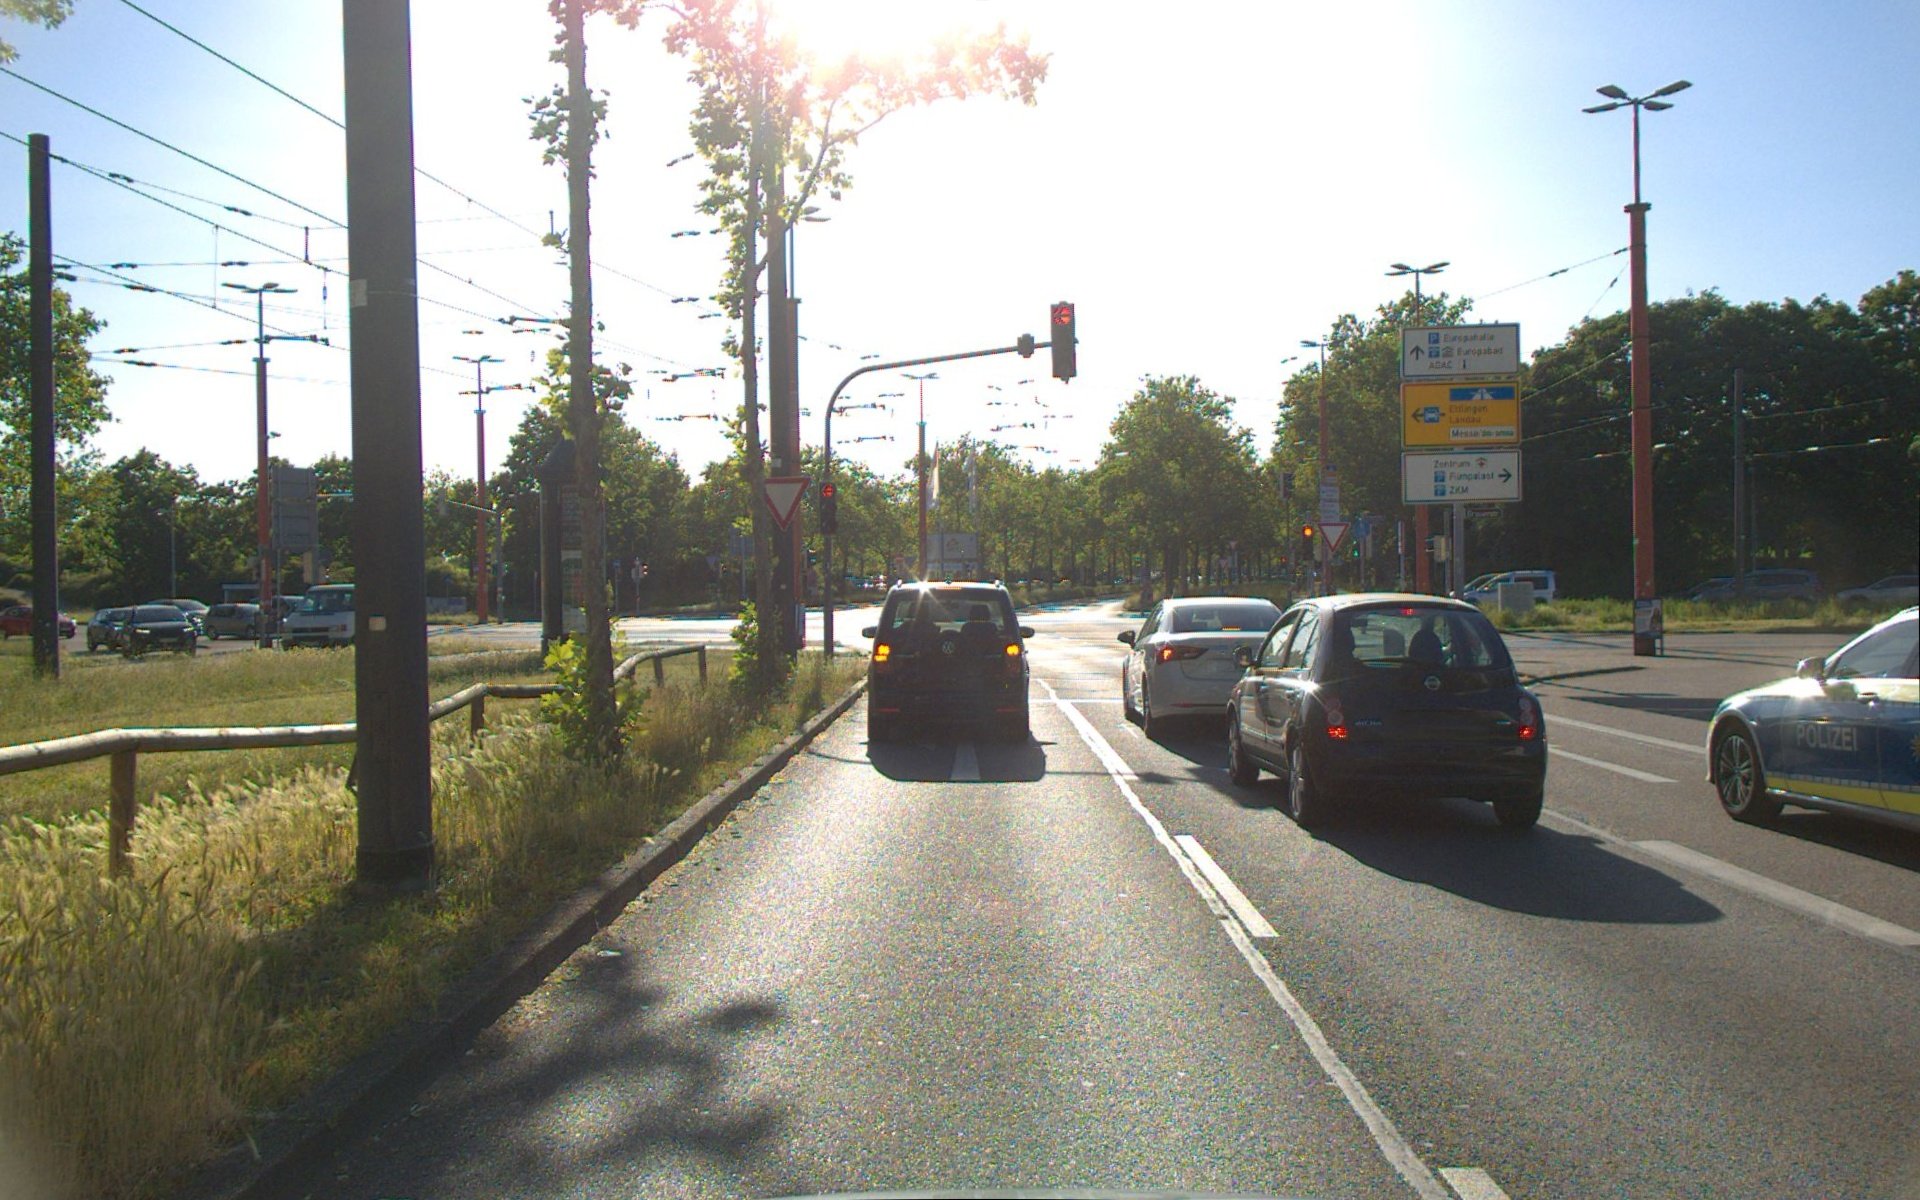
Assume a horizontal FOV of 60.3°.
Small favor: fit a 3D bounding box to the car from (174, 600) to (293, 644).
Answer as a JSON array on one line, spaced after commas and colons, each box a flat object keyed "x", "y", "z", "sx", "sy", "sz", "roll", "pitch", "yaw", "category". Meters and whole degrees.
[{"x": -30.505, "y": 0.906, "z": 69.460, "sx": 4.391, "sy": 1.638, "sz": 1.901, "roll": -2, "pitch": 2, "yaw": 19, "category": "car"}]

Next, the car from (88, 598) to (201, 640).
[{"x": -36.148, "y": 0.842, "z": 73.343, "sx": 4.391, "sy": 1.638, "sz": 1.901, "roll": -2, "pitch": 2, "yaw": 19, "category": "car"}]

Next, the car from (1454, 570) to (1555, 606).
[{"x": 23.348, "y": -0.492, "z": 70.907, "sx": 3.908, "sy": 1.502, "sz": 1.788, "roll": 0, "pitch": 0, "yaw": 26, "category": "car"}]

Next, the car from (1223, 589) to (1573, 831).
[{"x": 3.039, "y": 0.682, "z": 12.163, "sx": 1.605, "sy": 1.520, "sz": 3.503, "roll": 0, "pitch": 0, "yaw": -1, "category": "car"}]

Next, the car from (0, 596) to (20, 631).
[{"x": -47.499, "y": 0.660, "z": 79.159, "sx": 4.391, "sy": 1.638, "sz": 1.901, "roll": 0, "pitch": 3, "yaw": 19, "category": "car"}]

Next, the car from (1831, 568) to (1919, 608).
[{"x": 35.993, "y": -0.442, "z": 64.062, "sx": 3.909, "sy": 1.521, "sz": 1.859, "roll": 0, "pitch": 0, "yaw": 27, "category": "car"}]

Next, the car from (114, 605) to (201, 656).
[{"x": -26.313, "y": 0.962, "z": 54.161, "sx": 1.878, "sy": 1.570, "sz": 4.445, "roll": 0, "pitch": 0, "yaw": -35, "category": "car"}]

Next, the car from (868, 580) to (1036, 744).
[{"x": -0.103, "y": 0.622, "z": 18.219, "sx": 1.675, "sy": 1.631, "sz": 3.349, "roll": 0, "pitch": 0, "yaw": -1, "category": "car"}]

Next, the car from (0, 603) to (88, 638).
[{"x": -41.990, "y": 0.908, "z": 75.237, "sx": 3.950, "sy": 1.461, "sz": 1.816, "roll": 0, "pitch": 3, "yaw": 19, "category": "car"}]

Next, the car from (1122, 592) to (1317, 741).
[{"x": 2.818, "y": 0.676, "z": 18.774, "sx": 1.644, "sy": 1.501, "sz": 4.131, "roll": 0, "pitch": 0, "yaw": 1, "category": "car"}]

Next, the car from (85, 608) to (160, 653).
[{"x": -30.991, "y": 1.087, "z": 61.168, "sx": 1.878, "sy": 1.570, "sz": 4.445, "roll": 0, "pitch": 0, "yaw": -35, "category": "car"}]

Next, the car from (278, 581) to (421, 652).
[{"x": -16.318, "y": 0.416, "z": 44.454, "sx": 1.784, "sy": 1.811, "sz": 4.570, "roll": 0, "pitch": 0, "yaw": 5, "category": "car"}]

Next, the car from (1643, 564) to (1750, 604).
[{"x": 29.939, "y": -0.624, "z": 67.205, "sx": 3.909, "sy": 1.588, "sz": 1.898, "roll": 0, "pitch": 0, "yaw": 27, "category": "car"}]

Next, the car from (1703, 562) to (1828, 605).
[{"x": 30.776, "y": -0.619, "z": 63.318, "sx": 4.265, "sy": 1.586, "sz": 1.871, "roll": 0, "pitch": 0, "yaw": 25, "category": "car"}]

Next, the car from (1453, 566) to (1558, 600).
[{"x": 22.347, "y": -0.683, "z": 67.759, "sx": 3.909, "sy": 1.361, "sz": 1.727, "roll": 0, "pitch": 0, "yaw": 26, "category": "car"}]

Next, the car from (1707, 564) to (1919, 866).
[{"x": 6.195, "y": 0.618, "z": 9.376, "sx": 1.854, "sy": 1.661, "sz": 4.501, "roll": -1, "pitch": 1, "yaw": -1, "category": "car"}]

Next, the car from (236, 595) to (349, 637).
[{"x": -29.363, "y": 0.705, "z": 72.771, "sx": 4.391, "sy": 1.638, "sz": 1.901, "roll": -2, "pitch": 2, "yaw": 19, "category": "car"}]
